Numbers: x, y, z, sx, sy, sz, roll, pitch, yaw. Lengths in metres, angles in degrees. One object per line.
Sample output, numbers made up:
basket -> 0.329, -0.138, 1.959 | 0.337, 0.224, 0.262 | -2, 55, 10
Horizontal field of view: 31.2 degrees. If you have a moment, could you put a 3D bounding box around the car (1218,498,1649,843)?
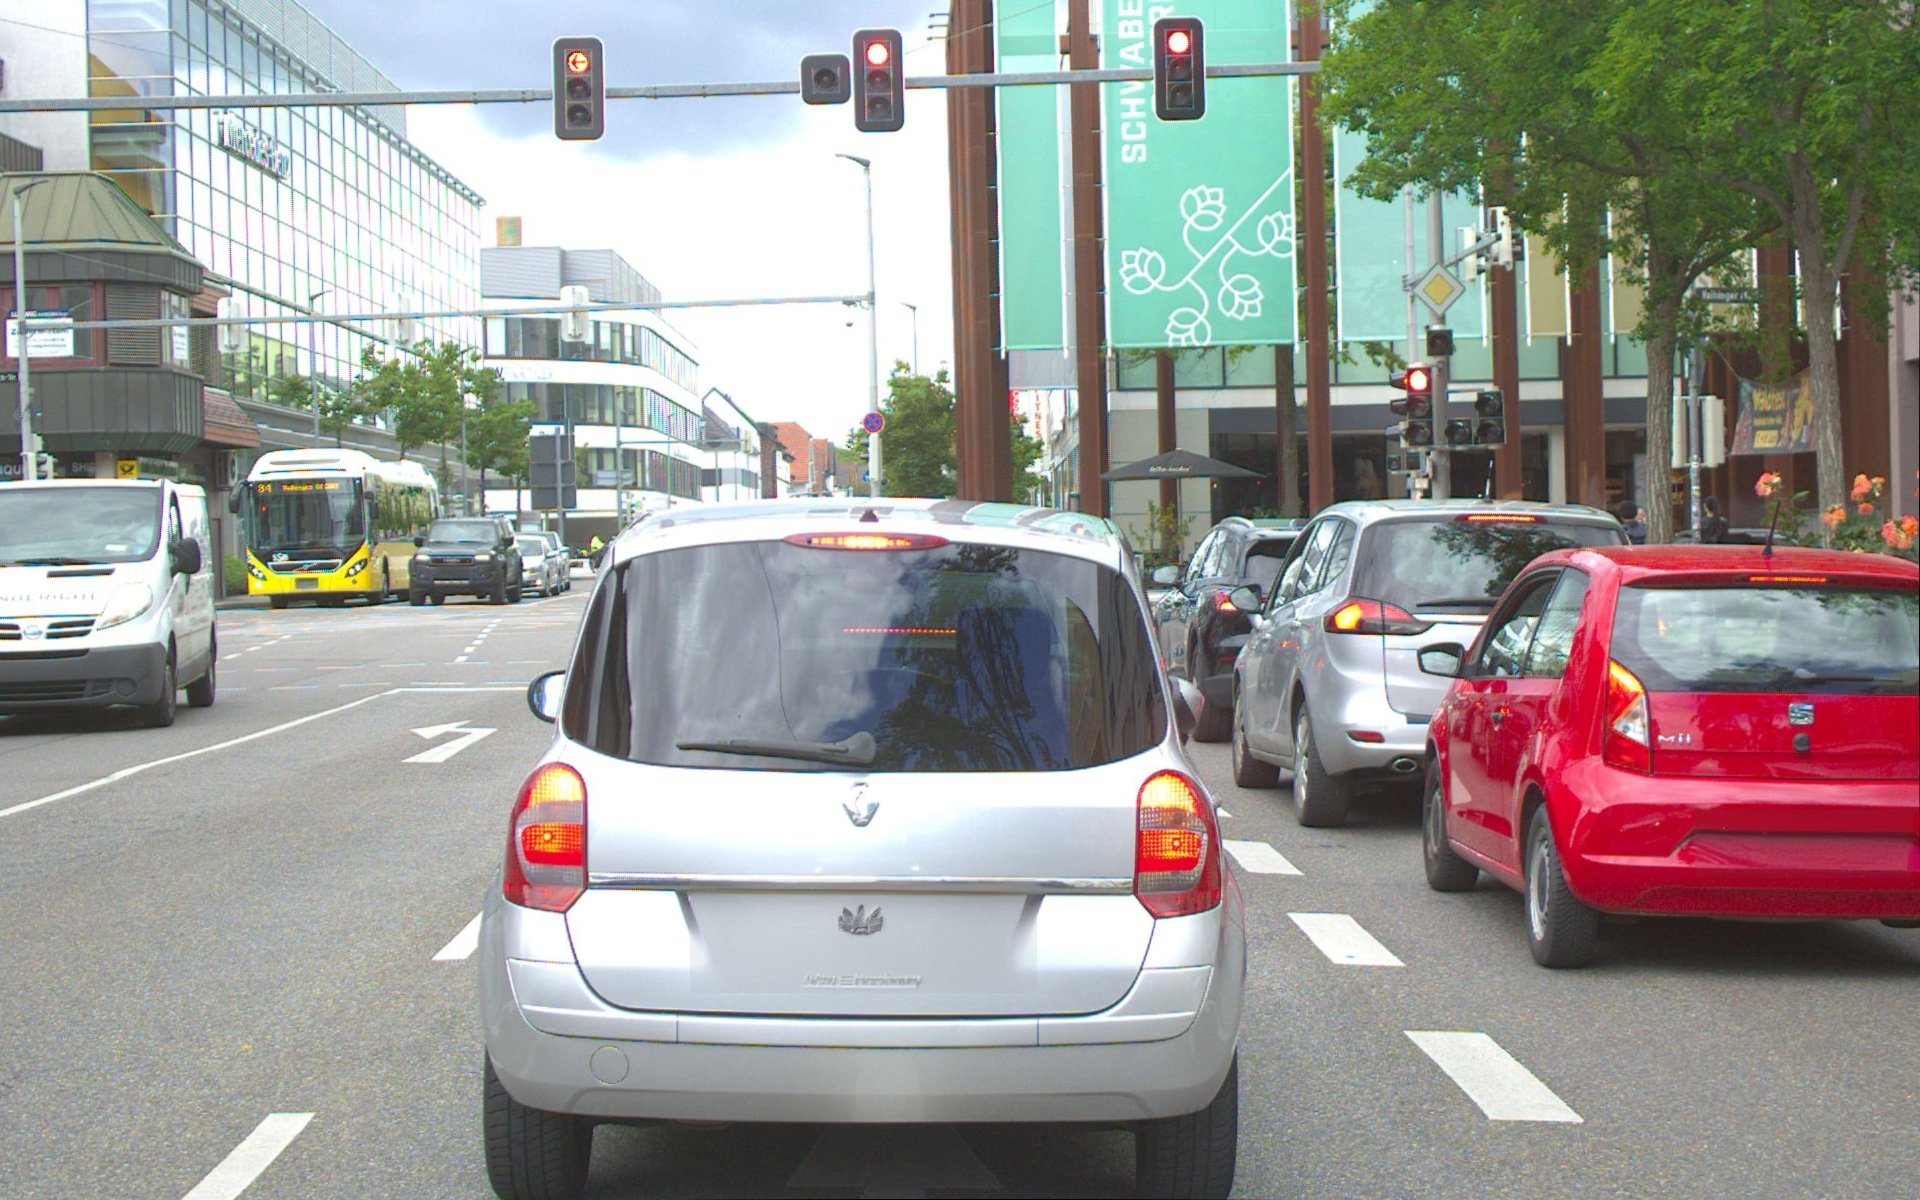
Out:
car -> 2.408, 0.293, 18.367 | 1.586, 1.628, 3.917 | 1, 1, -2

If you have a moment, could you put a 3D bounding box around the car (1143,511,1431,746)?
car -> 2.339, 0.151, 25.431 | 1.586, 1.589, 3.869 | 1, 1, -2

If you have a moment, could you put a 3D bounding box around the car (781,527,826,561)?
car -> -7.174, -2.584, 157.651 | 1.801, 1.535, 4.065 | -1, 1, 1

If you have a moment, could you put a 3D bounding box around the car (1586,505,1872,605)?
car -> 11.298, -0.670, 50.666 | 3.830, 1.384, 1.684 | -1, 1, 0

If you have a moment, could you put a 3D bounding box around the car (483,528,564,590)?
car -> -10.173, -0.978, 80.272 | 1.555, 1.387, 3.288 | -1, 1, -2

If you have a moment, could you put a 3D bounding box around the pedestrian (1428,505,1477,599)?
pedestrian -> 8.702, -0.854, 60.758 | 0.651, 1.645, 0.559 | -1, 1, -15

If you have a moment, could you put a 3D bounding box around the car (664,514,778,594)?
car -> -5.187, -1.023, 75.096 | 1.917, 1.671, 4.242 | -1, 1, 4

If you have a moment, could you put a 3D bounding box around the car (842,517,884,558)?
car -> -4.756, -3.053, 167.453 | 1.993, 1.942, 4.951 | -1, 1, -2

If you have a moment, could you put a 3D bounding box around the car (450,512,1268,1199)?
car -> -0.230, 0.547, 8.607 | 1.640, 1.522, 3.394 | 0, 1, -1

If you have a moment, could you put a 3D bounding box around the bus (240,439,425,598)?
bus -> -13.637, -1.794, 75.399 | 2.686, 3.250, 8.654 | -1, 1, -2

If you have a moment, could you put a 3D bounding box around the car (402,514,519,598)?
car -> -10.525, -0.953, 72.691 | 1.993, 1.700, 4.065 | -1, 1, -2

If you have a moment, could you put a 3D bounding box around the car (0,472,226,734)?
car -> -7.190, -0.018, 27.840 | 1.993, 1.881, 5.160 | -2, 2, -8

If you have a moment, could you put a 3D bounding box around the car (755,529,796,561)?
car -> -9.352, -2.809, 174.702 | 1.801, 1.535, 4.065 | -1, 1, 1

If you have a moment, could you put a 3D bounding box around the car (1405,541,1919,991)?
car -> 2.713, 0.518, 12.933 | 1.586, 1.438, 3.348 | 1, 1, -1
